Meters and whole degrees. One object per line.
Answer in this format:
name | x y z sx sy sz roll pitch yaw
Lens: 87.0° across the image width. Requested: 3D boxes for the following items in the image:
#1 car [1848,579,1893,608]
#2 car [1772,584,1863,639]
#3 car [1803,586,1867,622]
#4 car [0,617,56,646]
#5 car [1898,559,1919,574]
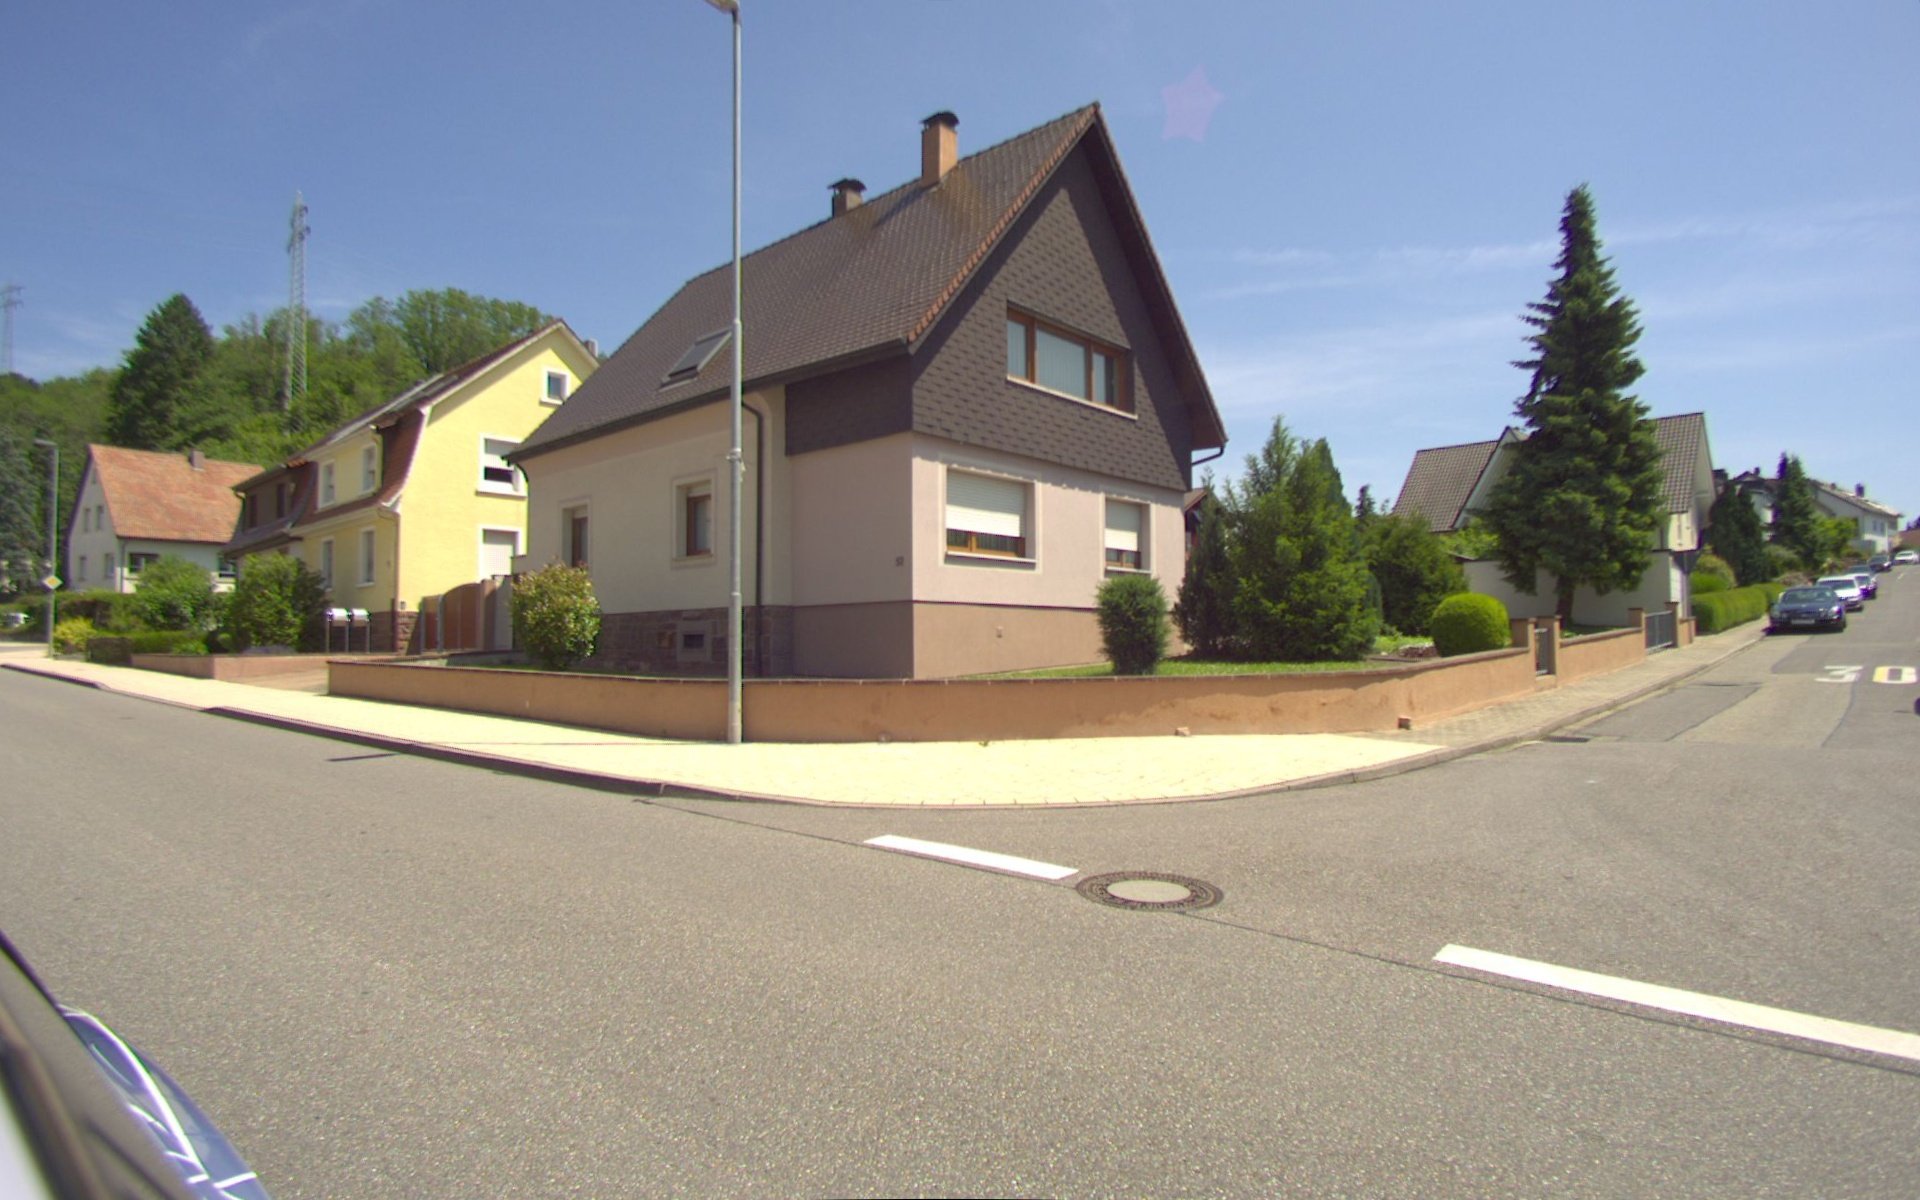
car | 52.381 -0.382 58.180 1.729 1.564 3.619 -1 0 45
car | 27.156 0.335 32.012 1.877 1.563 3.851 -1 0 45
car | 40.323 0.156 46.591 1.931 1.564 4.239 -1 0 45
car | -61.677 2.028 65.828 1.796 1.803 3.976 -1 -1 18
car | 101.751 -3.580 108.432 1.729 1.564 3.619 -1 0 45
